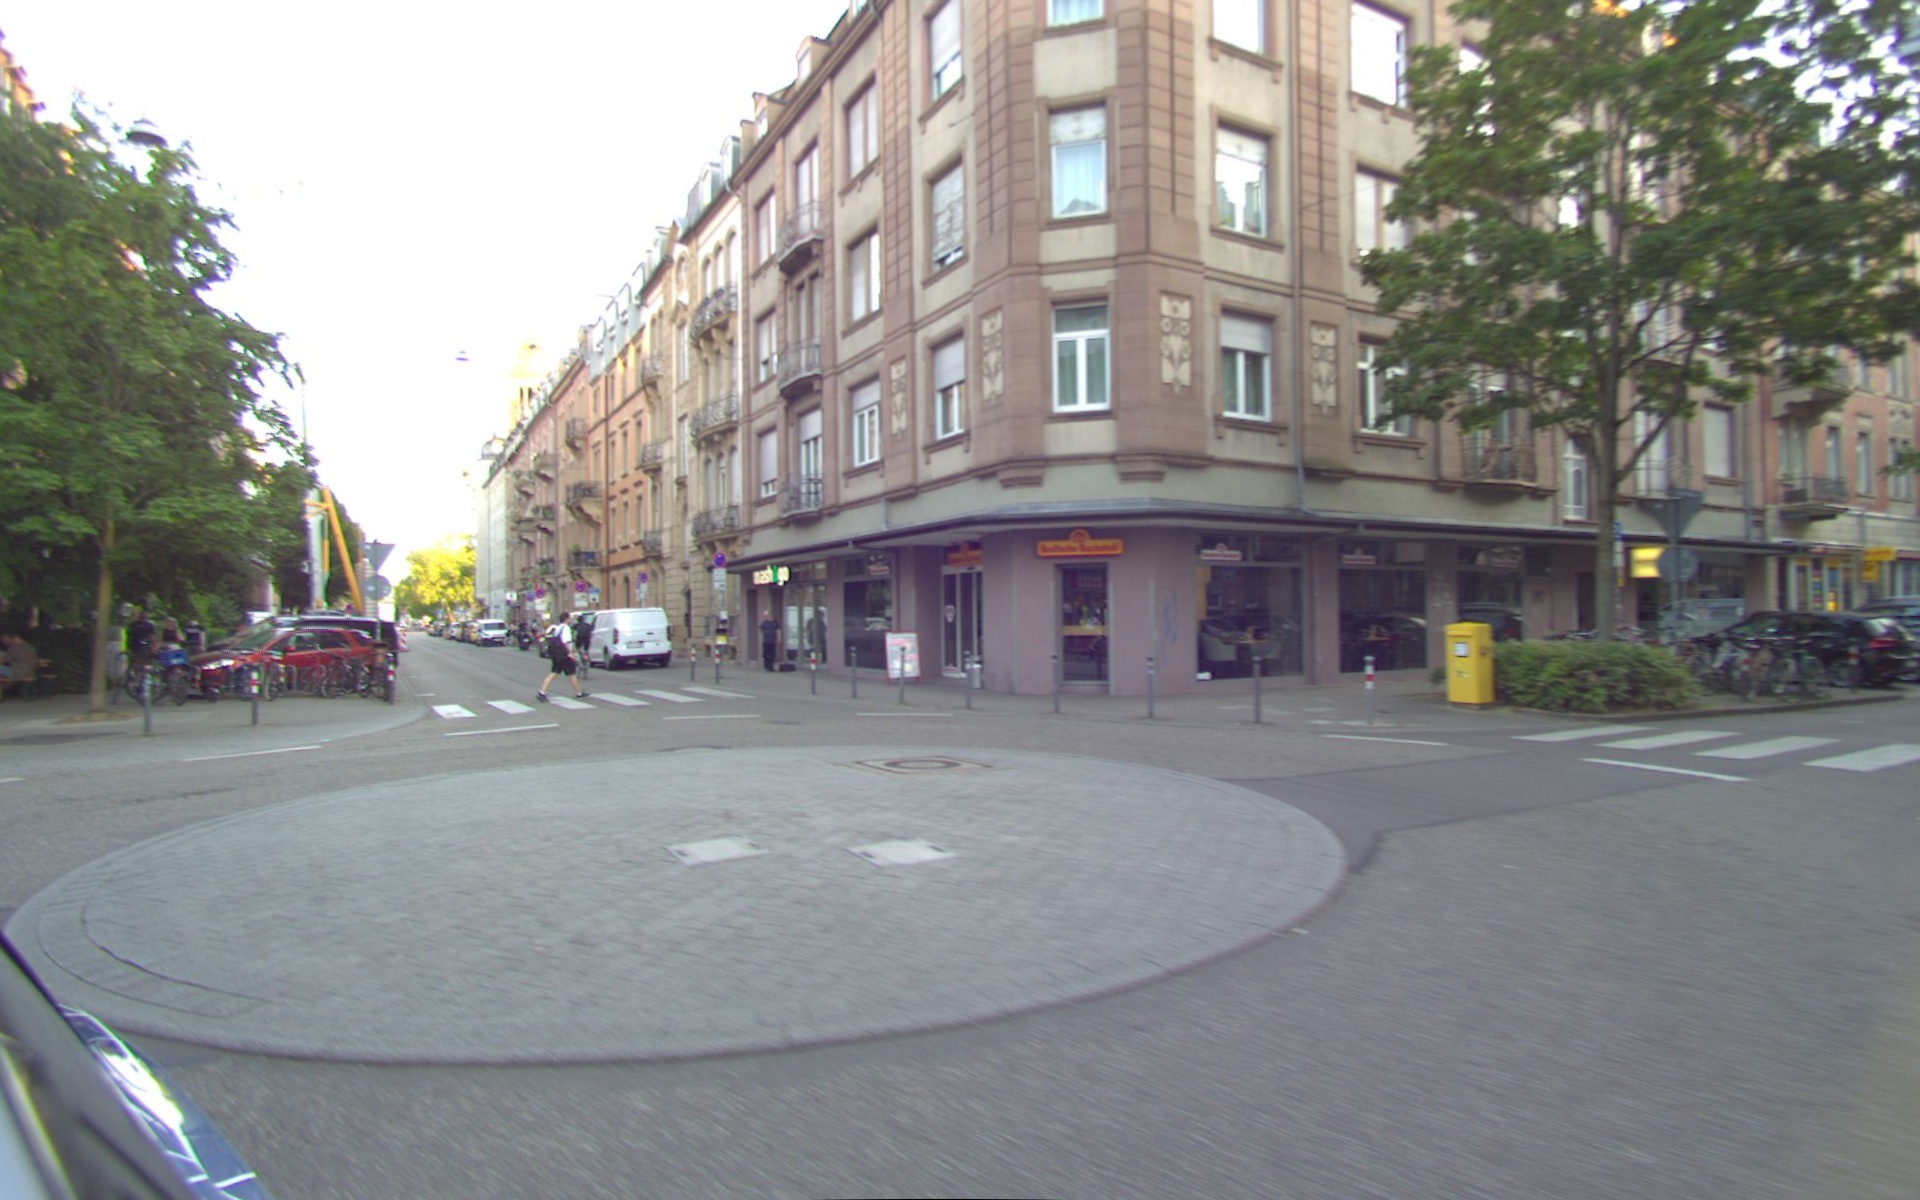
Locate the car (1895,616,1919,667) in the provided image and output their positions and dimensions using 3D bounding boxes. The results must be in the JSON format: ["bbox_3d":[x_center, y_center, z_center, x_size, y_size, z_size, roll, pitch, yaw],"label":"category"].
[{"bbox_3d":[26.371,1.078,25.496,1.691,1.322,3.823,1,-1,-30],"label":"car"}]

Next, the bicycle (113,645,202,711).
[{"bbox_3d":[-15.303,1.461,19.284,2.109,1.174,0.658,-1,-3,33],"label":"bicycle"}]

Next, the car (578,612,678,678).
[{"bbox_3d":[-11.191,1.455,33.875,2.106,1.973,4.783,-1,-1,-31],"label":"car"}]

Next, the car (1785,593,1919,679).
[{"bbox_3d":[21.303,0.779,22.617,1.966,1.852,4.012,1,-1,-30],"label":"car"}]

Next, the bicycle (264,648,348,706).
[{"bbox_3d":[-13.953,1.618,21.571,2.109,1.140,0.658,-1,-3,33],"label":"bicycle"}]

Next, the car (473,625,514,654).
[{"bbox_3d":[-31.767,2.668,68.805,2.106,1.835,4.554,-1,-1,-30],"label":"car"}]

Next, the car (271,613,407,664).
[{"bbox_3d":[-29.920,1.802,48.908,2.333,2.211,5.086,-1,0,35],"label":"car"}]

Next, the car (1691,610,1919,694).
[{"bbox_3d":[16.883,0.948,19.911,1.692,1.488,3.698,1,-1,-30],"label":"car"}]

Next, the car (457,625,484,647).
[{"bbox_3d":[-41.514,3.025,85.785,1.965,1.752,4.013,-1,0,-27],"label":"car"}]

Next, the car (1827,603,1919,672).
[{"bbox_3d":[23.184,0.880,23.665,1.876,1.586,4.012,1,-1,-30],"label":"car"}]

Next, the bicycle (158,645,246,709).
[{"bbox_3d":[-14.896,1.487,19.881,2.109,1.174,0.658,-1,-3,33],"label":"bicycle"}]

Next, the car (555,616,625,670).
[{"bbox_3d":[-14.328,1.628,39.021,1.848,1.918,4.339,-1,-1,-29],"label":"car"}]

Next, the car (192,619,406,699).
[{"bbox_3d":[-20.097,1.692,31.030,2.112,2.113,5.086,-1,0,35],"label":"car"}]

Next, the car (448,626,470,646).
[{"bbox_3d":[-48.983,3.476,98.951,1.837,1.752,3.812,-1,0,-27],"label":"car"}]

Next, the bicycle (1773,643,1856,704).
[{"bbox_3d":[14.103,1.194,16.695,1.464,0.902,0.478,-1,0,-26],"label":"bicycle"}]

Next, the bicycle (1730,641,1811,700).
[{"bbox_3d":[13.854,1.188,17.291,1.464,0.902,0.478,-1,0,-26],"label":"bicycle"}]

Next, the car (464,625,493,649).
[{"bbox_3d":[-38.812,2.926,81.517,1.965,1.752,4.013,-1,0,-27],"label":"car"}]

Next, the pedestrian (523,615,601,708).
[{"bbox_3d":[-7.907,1.207,20.144,0.747,1.757,1.199,-2,-1,35],"label":"pedestrian"}]

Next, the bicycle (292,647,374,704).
[{"bbox_3d":[-13.775,1.635,22.218,2.109,1.178,0.658,-1,-3,33],"label":"bicycle"}]

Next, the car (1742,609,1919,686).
[{"bbox_3d":[19.105,0.951,21.146,1.821,1.522,4.012,1,-1,-32],"label":"car"}]

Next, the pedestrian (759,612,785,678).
[{"bbox_3d":[-5.219,1.236,28.055,0.645,1.792,0.693,-2,-2,-12],"label":"pedestrian"}]

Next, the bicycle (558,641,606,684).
[{"bbox_3d":[-10.539,1.718,28.147,0.742,1.139,1.981,0,-2,-36],"label":"bicycle"}]

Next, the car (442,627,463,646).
[{"bbox_3d":[-52.036,3.697,103.832,1.877,1.752,3.862,-1,0,-27],"label":"car"}]

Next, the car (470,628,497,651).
[{"bbox_3d":[-36.739,3.014,77.980,1.810,1.654,3.938,-1,0,-27],"label":"car"}]

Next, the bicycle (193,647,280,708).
[{"bbox_3d":[-14.594,1.540,20.387,2.109,1.140,0.658,-1,-3,33],"label":"bicycle"}]

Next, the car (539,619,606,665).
[{"bbox_3d":[-17.059,1.805,44.406,2.106,1.835,4.554,-1,-1,-29],"label":"car"}]

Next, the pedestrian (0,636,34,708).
[{"bbox_3d":[-17.946,1.349,19.017,0.750,1.315,0.711,-2,-2,40],"label":"pedestrian"}]

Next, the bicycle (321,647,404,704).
[{"bbox_3d":[-13.228,1.648,22.388,2.109,1.178,0.658,-1,-3,33],"label":"bicycle"}]

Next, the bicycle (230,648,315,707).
[{"bbox_3d":[-14.268,1.583,20.990,2.109,1.140,0.658,-1,-3,33],"label":"bicycle"}]

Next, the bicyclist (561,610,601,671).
[{"bbox_3d":[-10.564,1.128,28.172,0.742,1.653,1.204,0,-2,-36],"label":"bicyclist"}]

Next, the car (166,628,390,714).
[{"bbox_3d":[-15.831,1.566,23.696,1.820,1.680,3.961,-1,0,28],"label":"car"}]
